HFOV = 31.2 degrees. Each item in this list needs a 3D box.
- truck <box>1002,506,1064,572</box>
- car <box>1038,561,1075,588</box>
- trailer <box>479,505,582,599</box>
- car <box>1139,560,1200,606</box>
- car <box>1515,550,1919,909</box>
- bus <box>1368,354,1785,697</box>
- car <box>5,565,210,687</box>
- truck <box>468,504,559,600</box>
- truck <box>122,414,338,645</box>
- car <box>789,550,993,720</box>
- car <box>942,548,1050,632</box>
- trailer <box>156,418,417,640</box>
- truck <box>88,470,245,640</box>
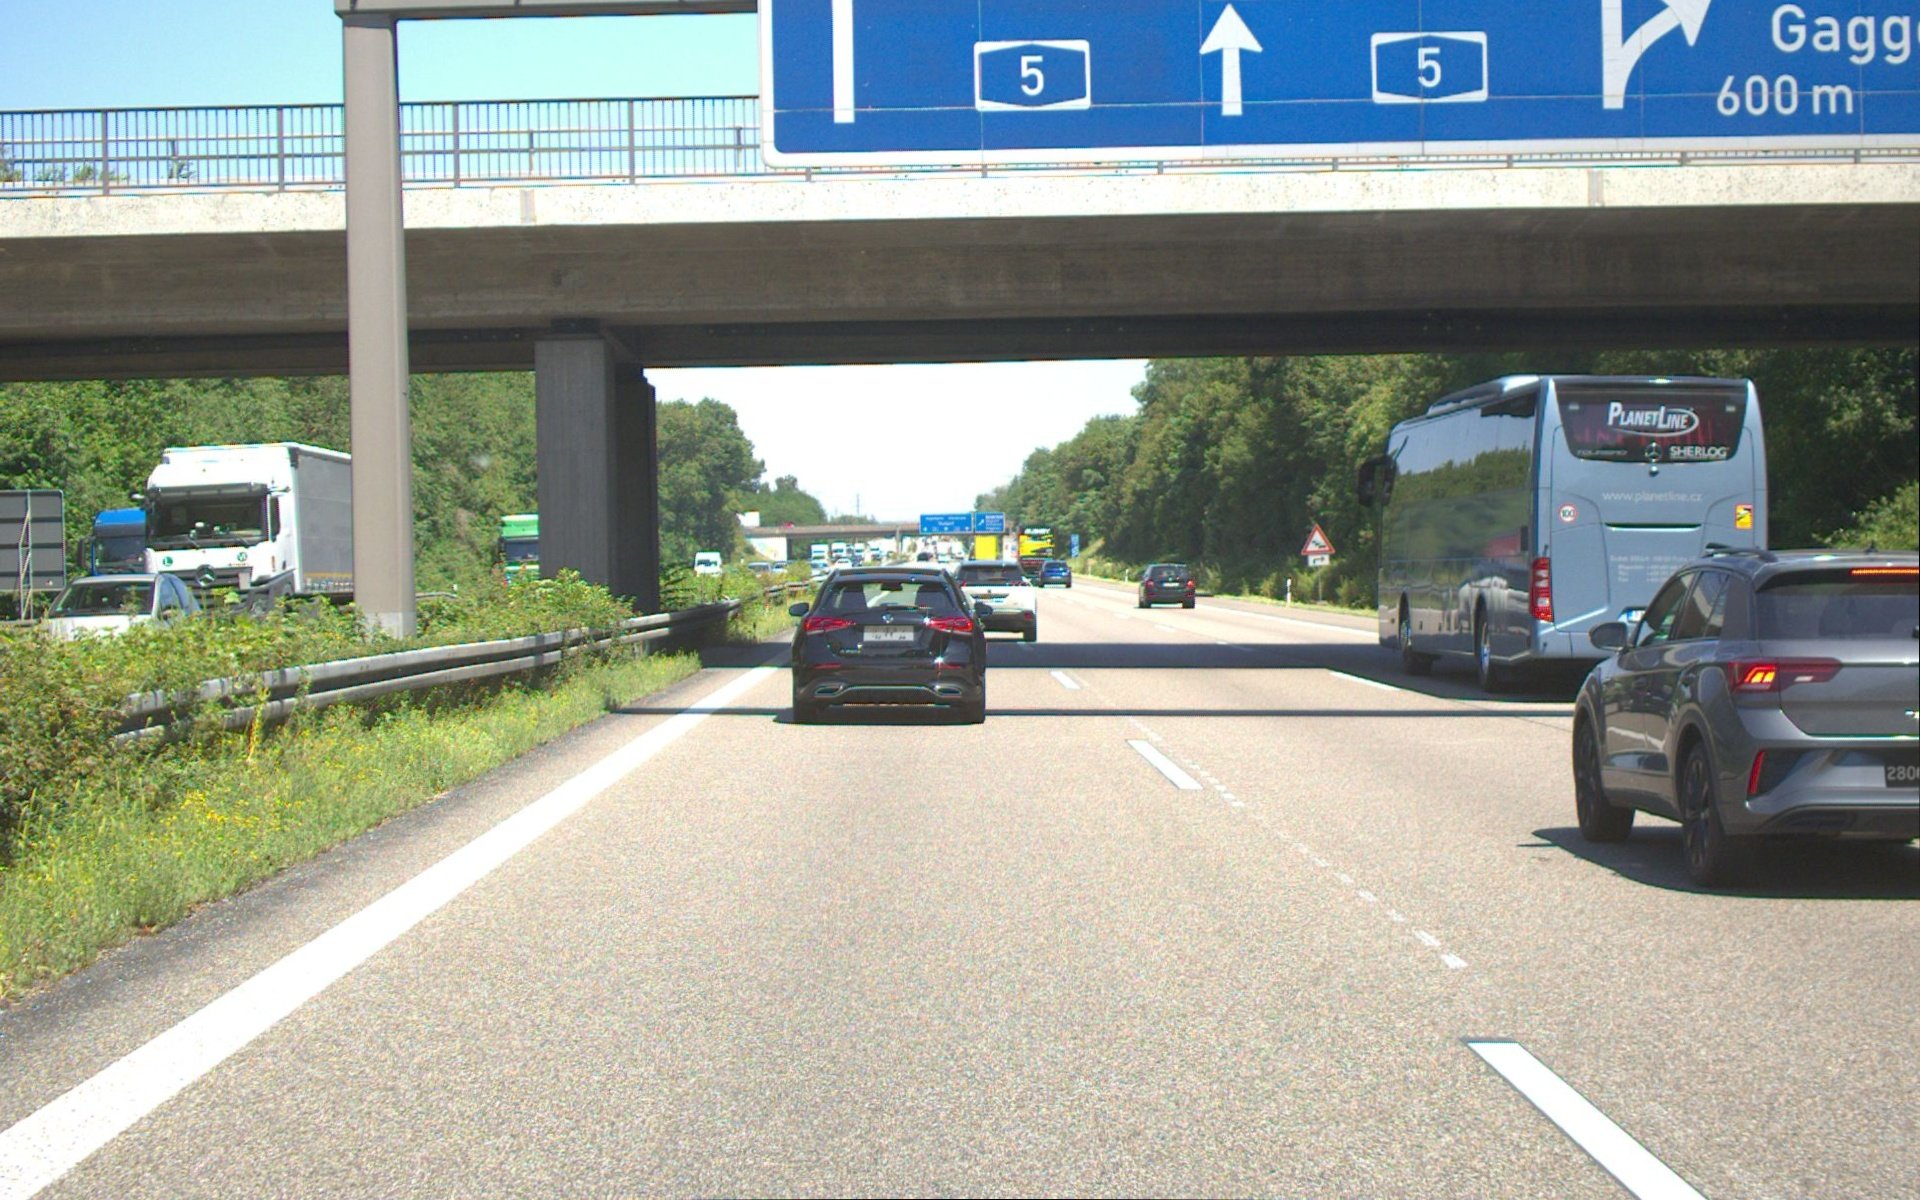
[{"bbox_3d":[5.202,-4.353,247.518,3.647,4.574,15.768,1,1,-1],"label":"truck"},{"bbox_3d":[5.528,-1.479,197.392,2.081,1.527,4.241,0,1,1],"label":"car"},{"bbox_3d":[-19.429,-2.158,156.304,3.217,4.045,12.743,-1,1,-1],"label":"trailer"},{"bbox_3d":[6.877,-0.585,113.178,1.789,1.456,3.949,0,1,1],"label":"car"},{"bbox_3d":[4.150,0.522,17.089,1.899,1.527,4.760,0,1,-1],"label":"car"},{"bbox_3d":[7.179,-0.857,42.145,2.802,3.584,12.475,0,1,0],"label":"bus"},{"bbox_3d":[-11.696,0.317,47.418,1.899,1.548,4.242,-1,1,-2],"label":"car"},{"bbox_3d":[-19.323,-2.083,149.110,3.217,4.045,5.619,-1,1,-1],"label":"truck"},{"bbox_3d":[-14.145,-1.359,67.053,2.828,4.197,5.889,-2,1,0],"label":"truck"},{"bbox_3d":[-0.664,0.281,32.656,1.799,1.497,4.242,0,1,-1],"label":"car"},{"bbox_3d":[0.646,-0.221,65.426,1.899,1.527,4.242,0,1,-1],"label":"car"},{"bbox_3d":[-14.204,-1.495,73.860,2.828,4.210,13.836,-2,1,0],"label":"trailer"},{"bbox_3d":[-18.597,-1.065,80.815,2.359,3.762,5.252,-2,1,0],"label":"truck"}]
